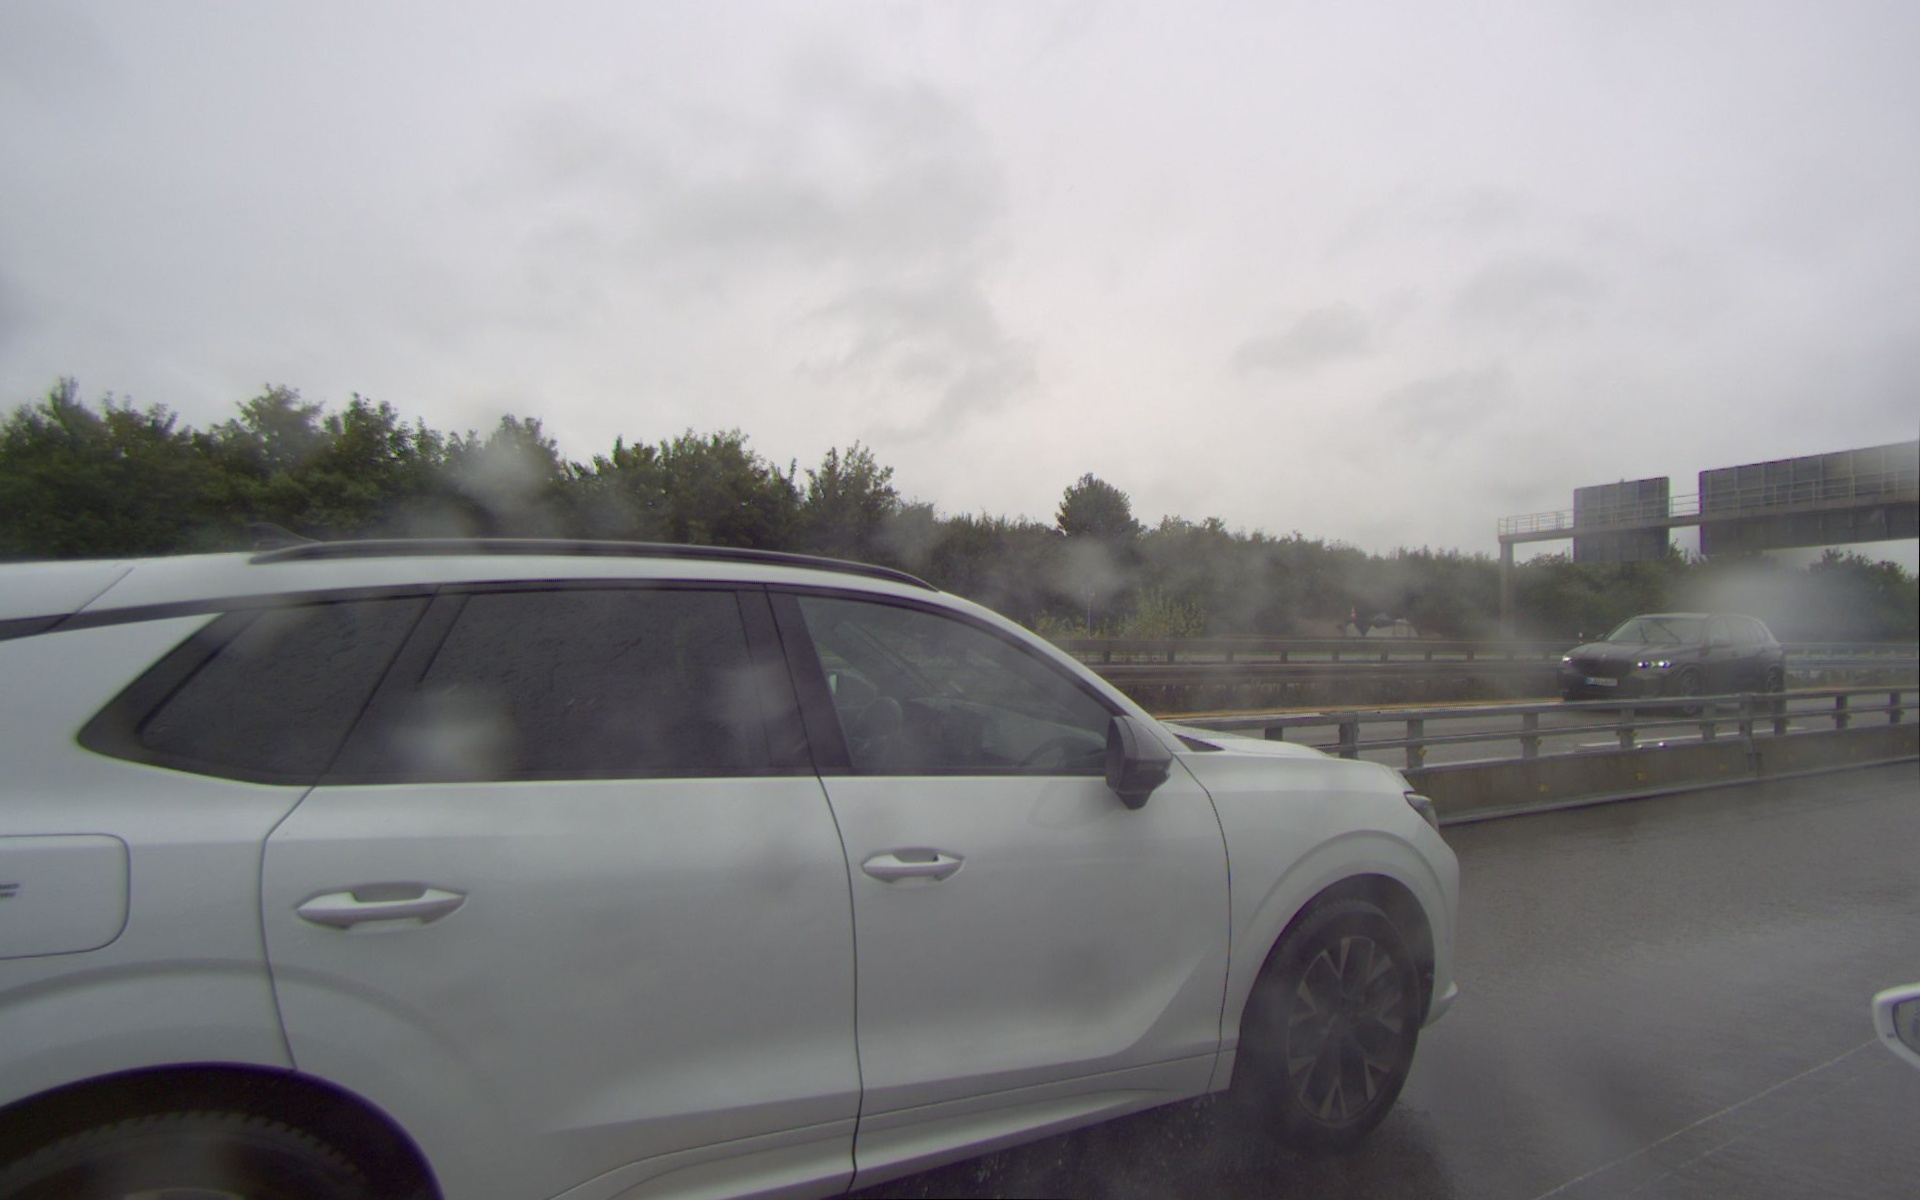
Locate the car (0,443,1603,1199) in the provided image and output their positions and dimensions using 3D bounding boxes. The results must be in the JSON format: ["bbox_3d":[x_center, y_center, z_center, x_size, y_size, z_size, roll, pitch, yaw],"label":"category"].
[{"bbox_3d":[-0.533,0.643,2.875,4.738,1.639,1.985,2,0,-29],"label":"car"}]

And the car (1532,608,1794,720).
[{"bbox_3d":[12.713,1.095,18.074,5.044,1.740,1.941,2,0,-31],"label":"car"}]
